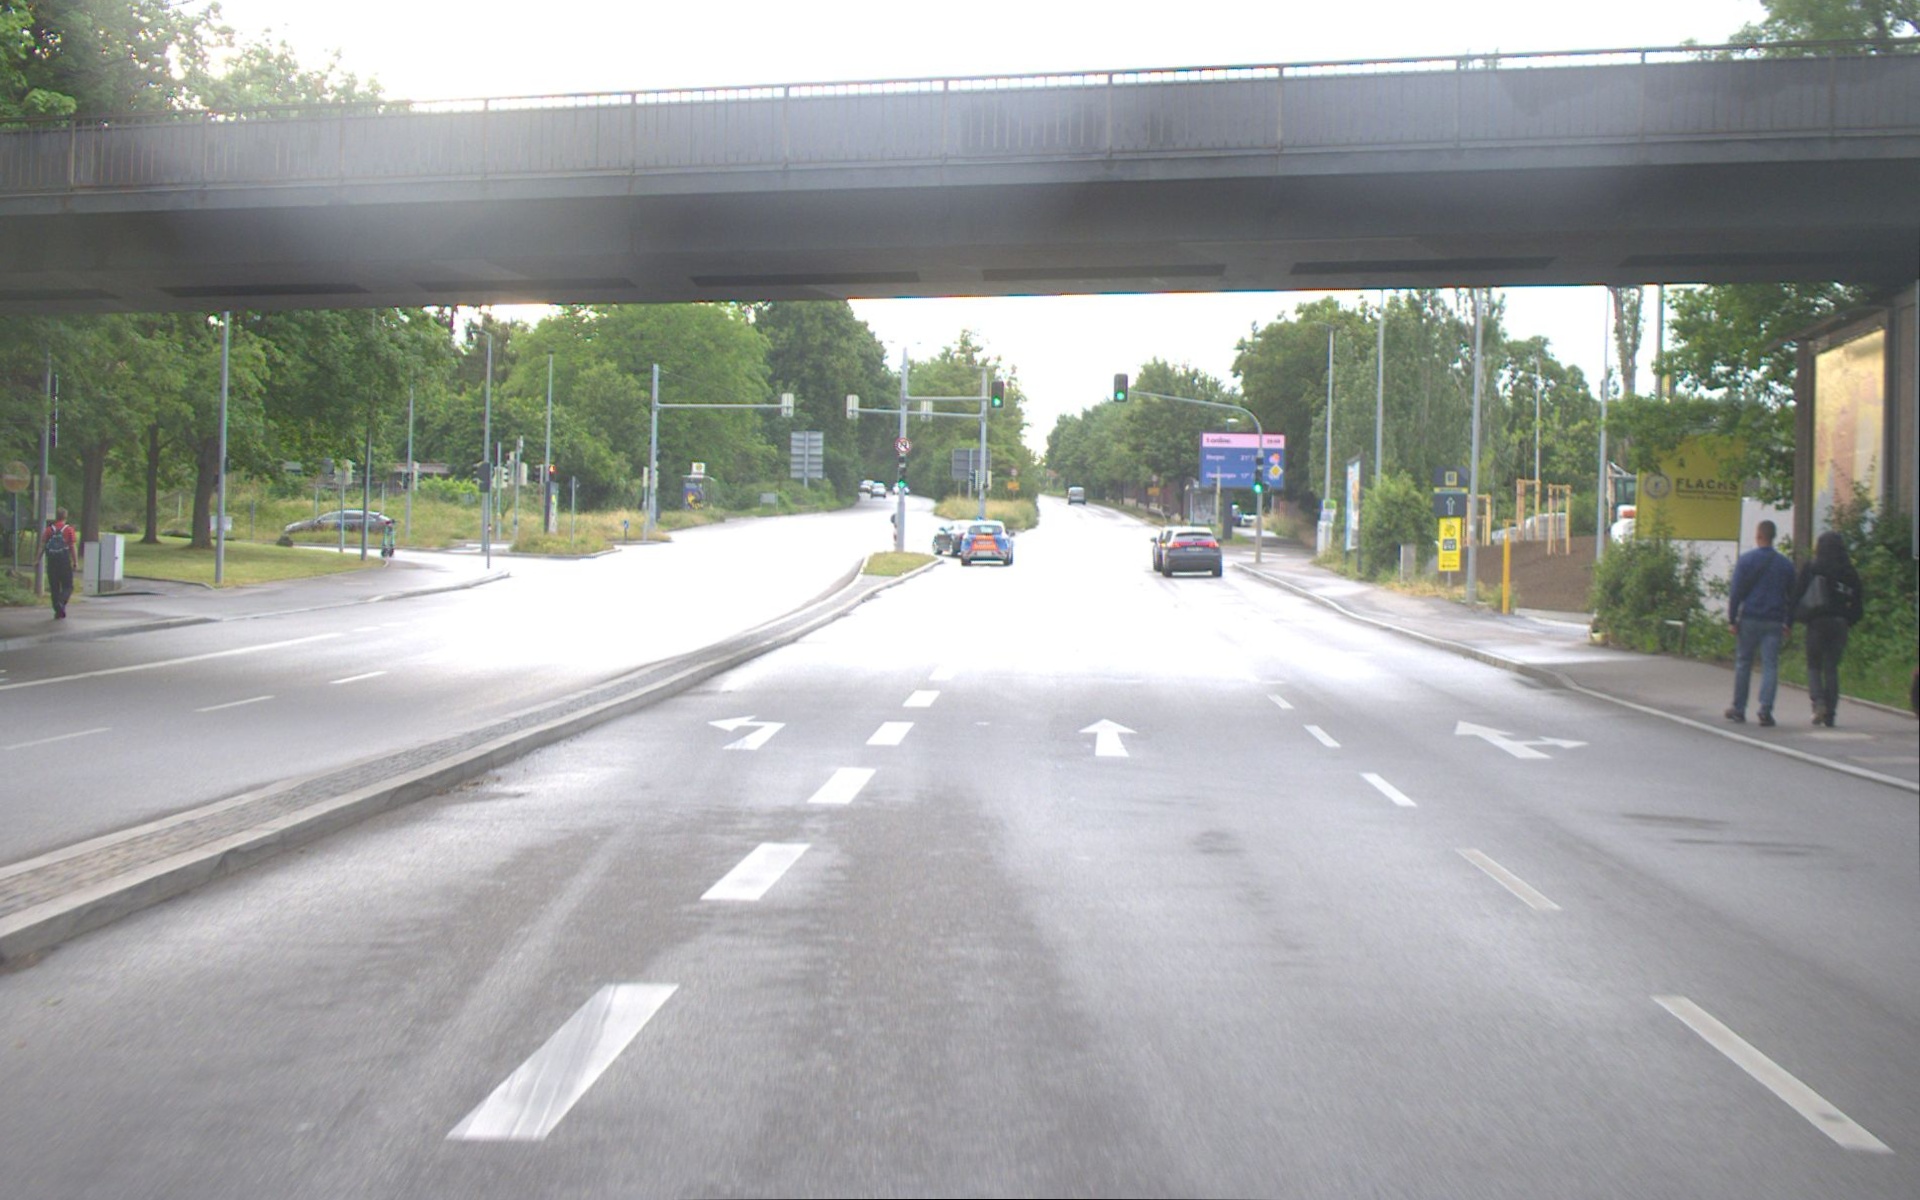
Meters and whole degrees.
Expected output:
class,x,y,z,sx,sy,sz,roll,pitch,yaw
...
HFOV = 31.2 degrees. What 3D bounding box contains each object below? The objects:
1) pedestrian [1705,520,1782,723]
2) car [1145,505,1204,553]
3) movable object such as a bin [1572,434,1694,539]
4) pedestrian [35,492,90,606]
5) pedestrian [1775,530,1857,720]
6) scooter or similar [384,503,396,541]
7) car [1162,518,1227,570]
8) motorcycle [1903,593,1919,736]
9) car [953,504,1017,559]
class,x,y,z,sx,sy,sz,roll,pitch,yaw
pedestrian,6.733,0.174,29.570,0.611,1.715,0.891,1,1,12
car,7.046,-2.361,113.138,1.745,1.465,4.166,2,2,1
movable object such as a bin,21.708,-3.682,111.162,2.301,3.264,5.426,1,2,-6
pedestrian,-14.509,-0.825,55.572,0.520,1.809,0.799,2,1,12
pedestrian,7.245,0.205,29.119,0.651,1.590,0.578,1,1,14
scooter or similar,-18.617,-2.553,112.282,0.311,1.214,1.308,1,2,-12
car,7.115,-1.724,104.565,1.745,1.465,4.166,2,2,1
motorcycle,7.916,0.527,27.158,0.469,1.133,1.819,0,1,2
car,0.852,-2.350,118.675,2.076,1.712,4.198,3,0,0
